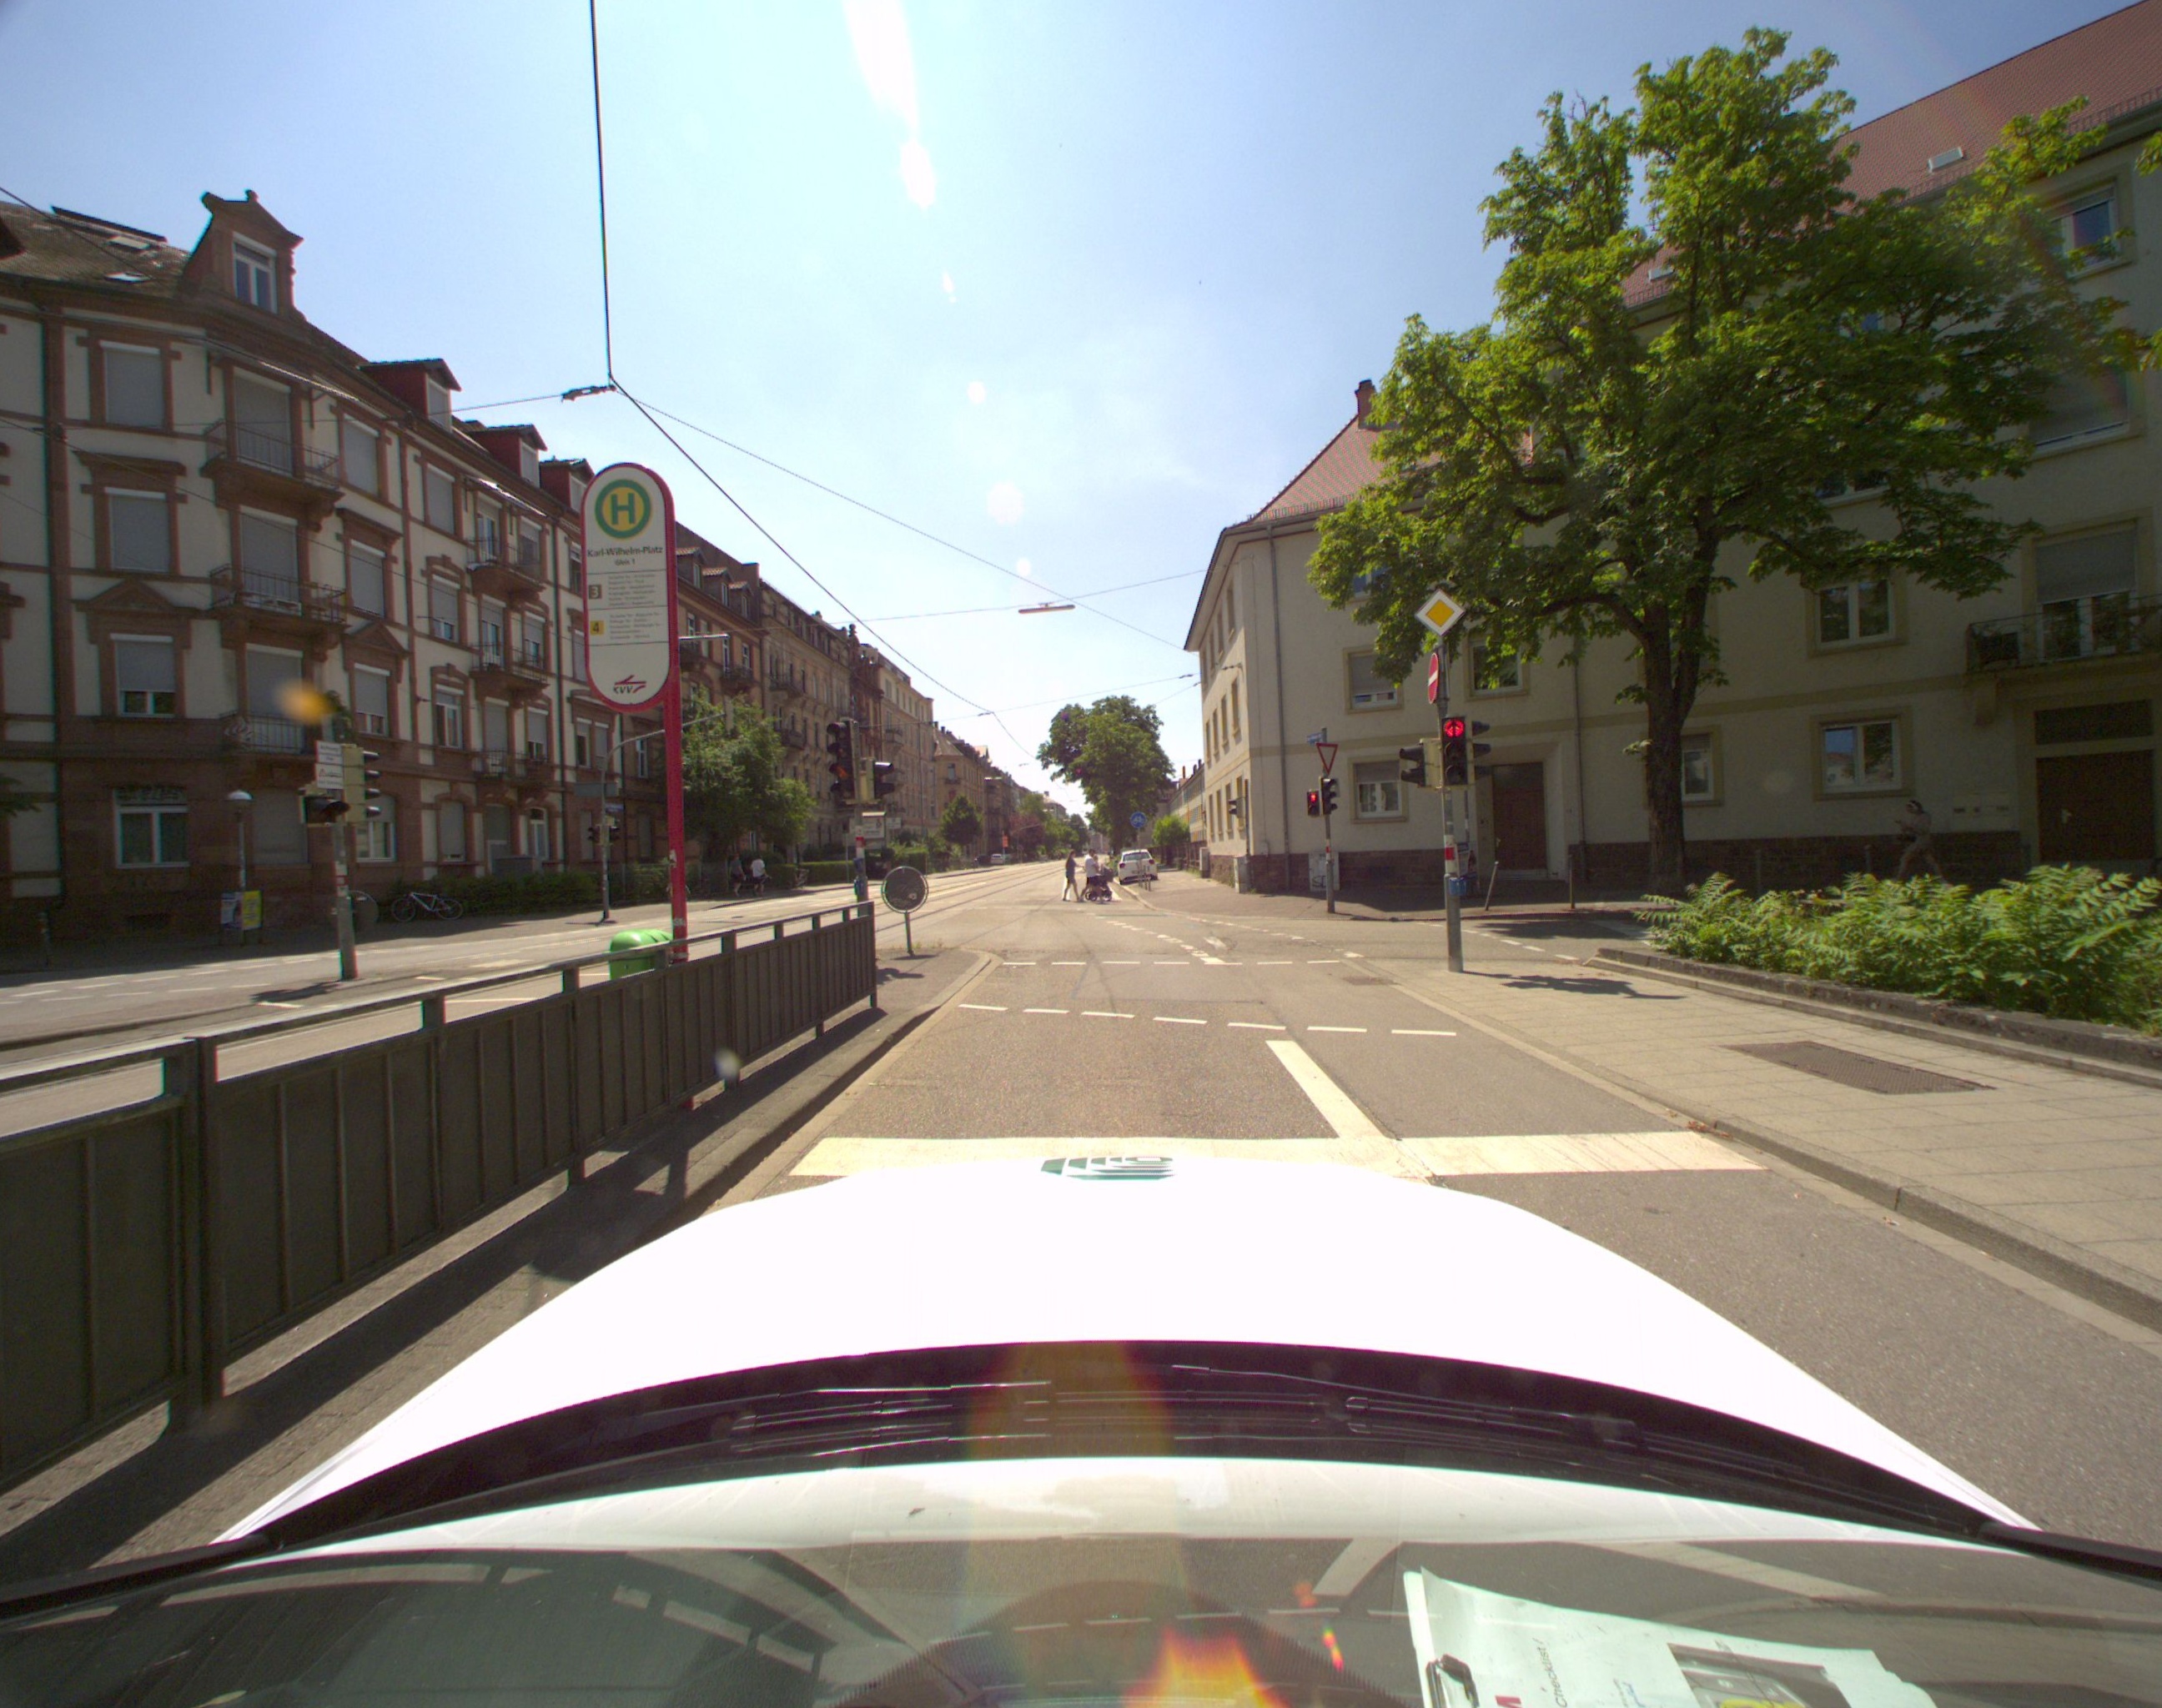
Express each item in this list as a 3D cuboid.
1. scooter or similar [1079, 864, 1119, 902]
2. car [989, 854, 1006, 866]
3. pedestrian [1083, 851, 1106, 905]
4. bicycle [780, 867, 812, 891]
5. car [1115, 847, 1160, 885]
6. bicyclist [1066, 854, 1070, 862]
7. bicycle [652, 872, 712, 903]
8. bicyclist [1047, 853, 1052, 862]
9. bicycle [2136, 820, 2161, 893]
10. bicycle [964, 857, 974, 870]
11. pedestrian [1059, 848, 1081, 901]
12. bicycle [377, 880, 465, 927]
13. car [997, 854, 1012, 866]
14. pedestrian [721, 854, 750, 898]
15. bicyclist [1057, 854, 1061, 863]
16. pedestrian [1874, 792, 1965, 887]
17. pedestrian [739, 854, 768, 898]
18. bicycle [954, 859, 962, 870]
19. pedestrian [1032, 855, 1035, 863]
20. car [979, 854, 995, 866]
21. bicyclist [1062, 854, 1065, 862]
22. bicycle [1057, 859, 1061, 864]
[{"bbox_3d":[0.563,0.911,25.844,1.199,1.155,0.557,0,-1,-5],"label":"scooter or similar"},{"bbox_3d":[-11.881,0.814,116.070,1.912,1.715,4.001,0,-1,2],"label":"car"},{"bbox_3d":[0.418,0.727,24.949,0.673,1.645,0.558,0,-1,-2],"label":"pedestrian"},{"bbox_3d":[-14.401,1.255,41.260,0.936,1.136,2.767,0,-1,-7],"label":"bicycle"},{"bbox_3d":[2.526,0.530,37.422,1.808,1.516,4.001,-4,-1,2],"label":"car"},{"bbox_3d":[-2.936,1.017,187.158,0.724,1.818,1.080,0,-1,3],"label":"bicyclist"},{"bbox_3d":[-15.669,1.300,32.087,0.934,1.136,2.774,0,-1,1],"label":"bicycle"},{"bbox_3d":[-5.598,0.605,145.446,0.724,1.629,1.080,0,-1,3],"label":"bicyclist"},{"bbox_3d":[17.011,0.018,12.089,0.527,1.104,1.589,-2,0,-34],"label":"bicycle"},{"bbox_3d":[-11.710,0.959,85.141,0.675,1.278,1.918,-2,0,-1],"label":"bicycle"},{"bbox_3d":[-0.362,0.643,25.678,0.673,1.645,0.558,0,-1,-2],"label":"pedestrian"},{"bbox_3d":[-19.554,1.438,24.165,0.557,1.294,1.975,-1,-1,43],"label":"bicycle"},{"bbox_3d":[-11.661,0.880,124.334,1.912,1.715,4.001,0,-1,2],"label":"car"},{"bbox_3d":[-14.739,0.931,34.742,0.812,1.822,0.875,0,1,5],"label":"pedestrian"},{"bbox_3d":[-4.483,0.882,167.608,0.724,1.768,1.080,0,-1,3],"label":"bicyclist"},{"bbox_3d":[16.005,-0.268,15.576,1.043,1.690,0.658,-5,3,39],"label":"pedestrian"},{"bbox_3d":[-13.954,0.920,34.765,0.812,1.822,0.875,0,1,5],"label":"pedestrian"},{"bbox_3d":[-12.154,1.032,80.504,0.677,1.064,1.912,-2,0,-9],"label":"bicycle"},{"bbox_3d":[-8.485,0.938,144.232,0.404,1.461,0.436,-2,0,1],"label":"pedestrian"},{"bbox_3d":[-14.333,0.901,124.472,1.912,1.715,4.001,0,-1,2],"label":"car"},{"bbox_3d":[-3.989,1.023,187.385,0.724,1.818,1.080,0,-1,3],"label":"bicyclist"},{"bbox_3d":[-4.495,1.549,167.552,0.724,1.123,2.087,0,-1,4],"label":"bicycle"}]
